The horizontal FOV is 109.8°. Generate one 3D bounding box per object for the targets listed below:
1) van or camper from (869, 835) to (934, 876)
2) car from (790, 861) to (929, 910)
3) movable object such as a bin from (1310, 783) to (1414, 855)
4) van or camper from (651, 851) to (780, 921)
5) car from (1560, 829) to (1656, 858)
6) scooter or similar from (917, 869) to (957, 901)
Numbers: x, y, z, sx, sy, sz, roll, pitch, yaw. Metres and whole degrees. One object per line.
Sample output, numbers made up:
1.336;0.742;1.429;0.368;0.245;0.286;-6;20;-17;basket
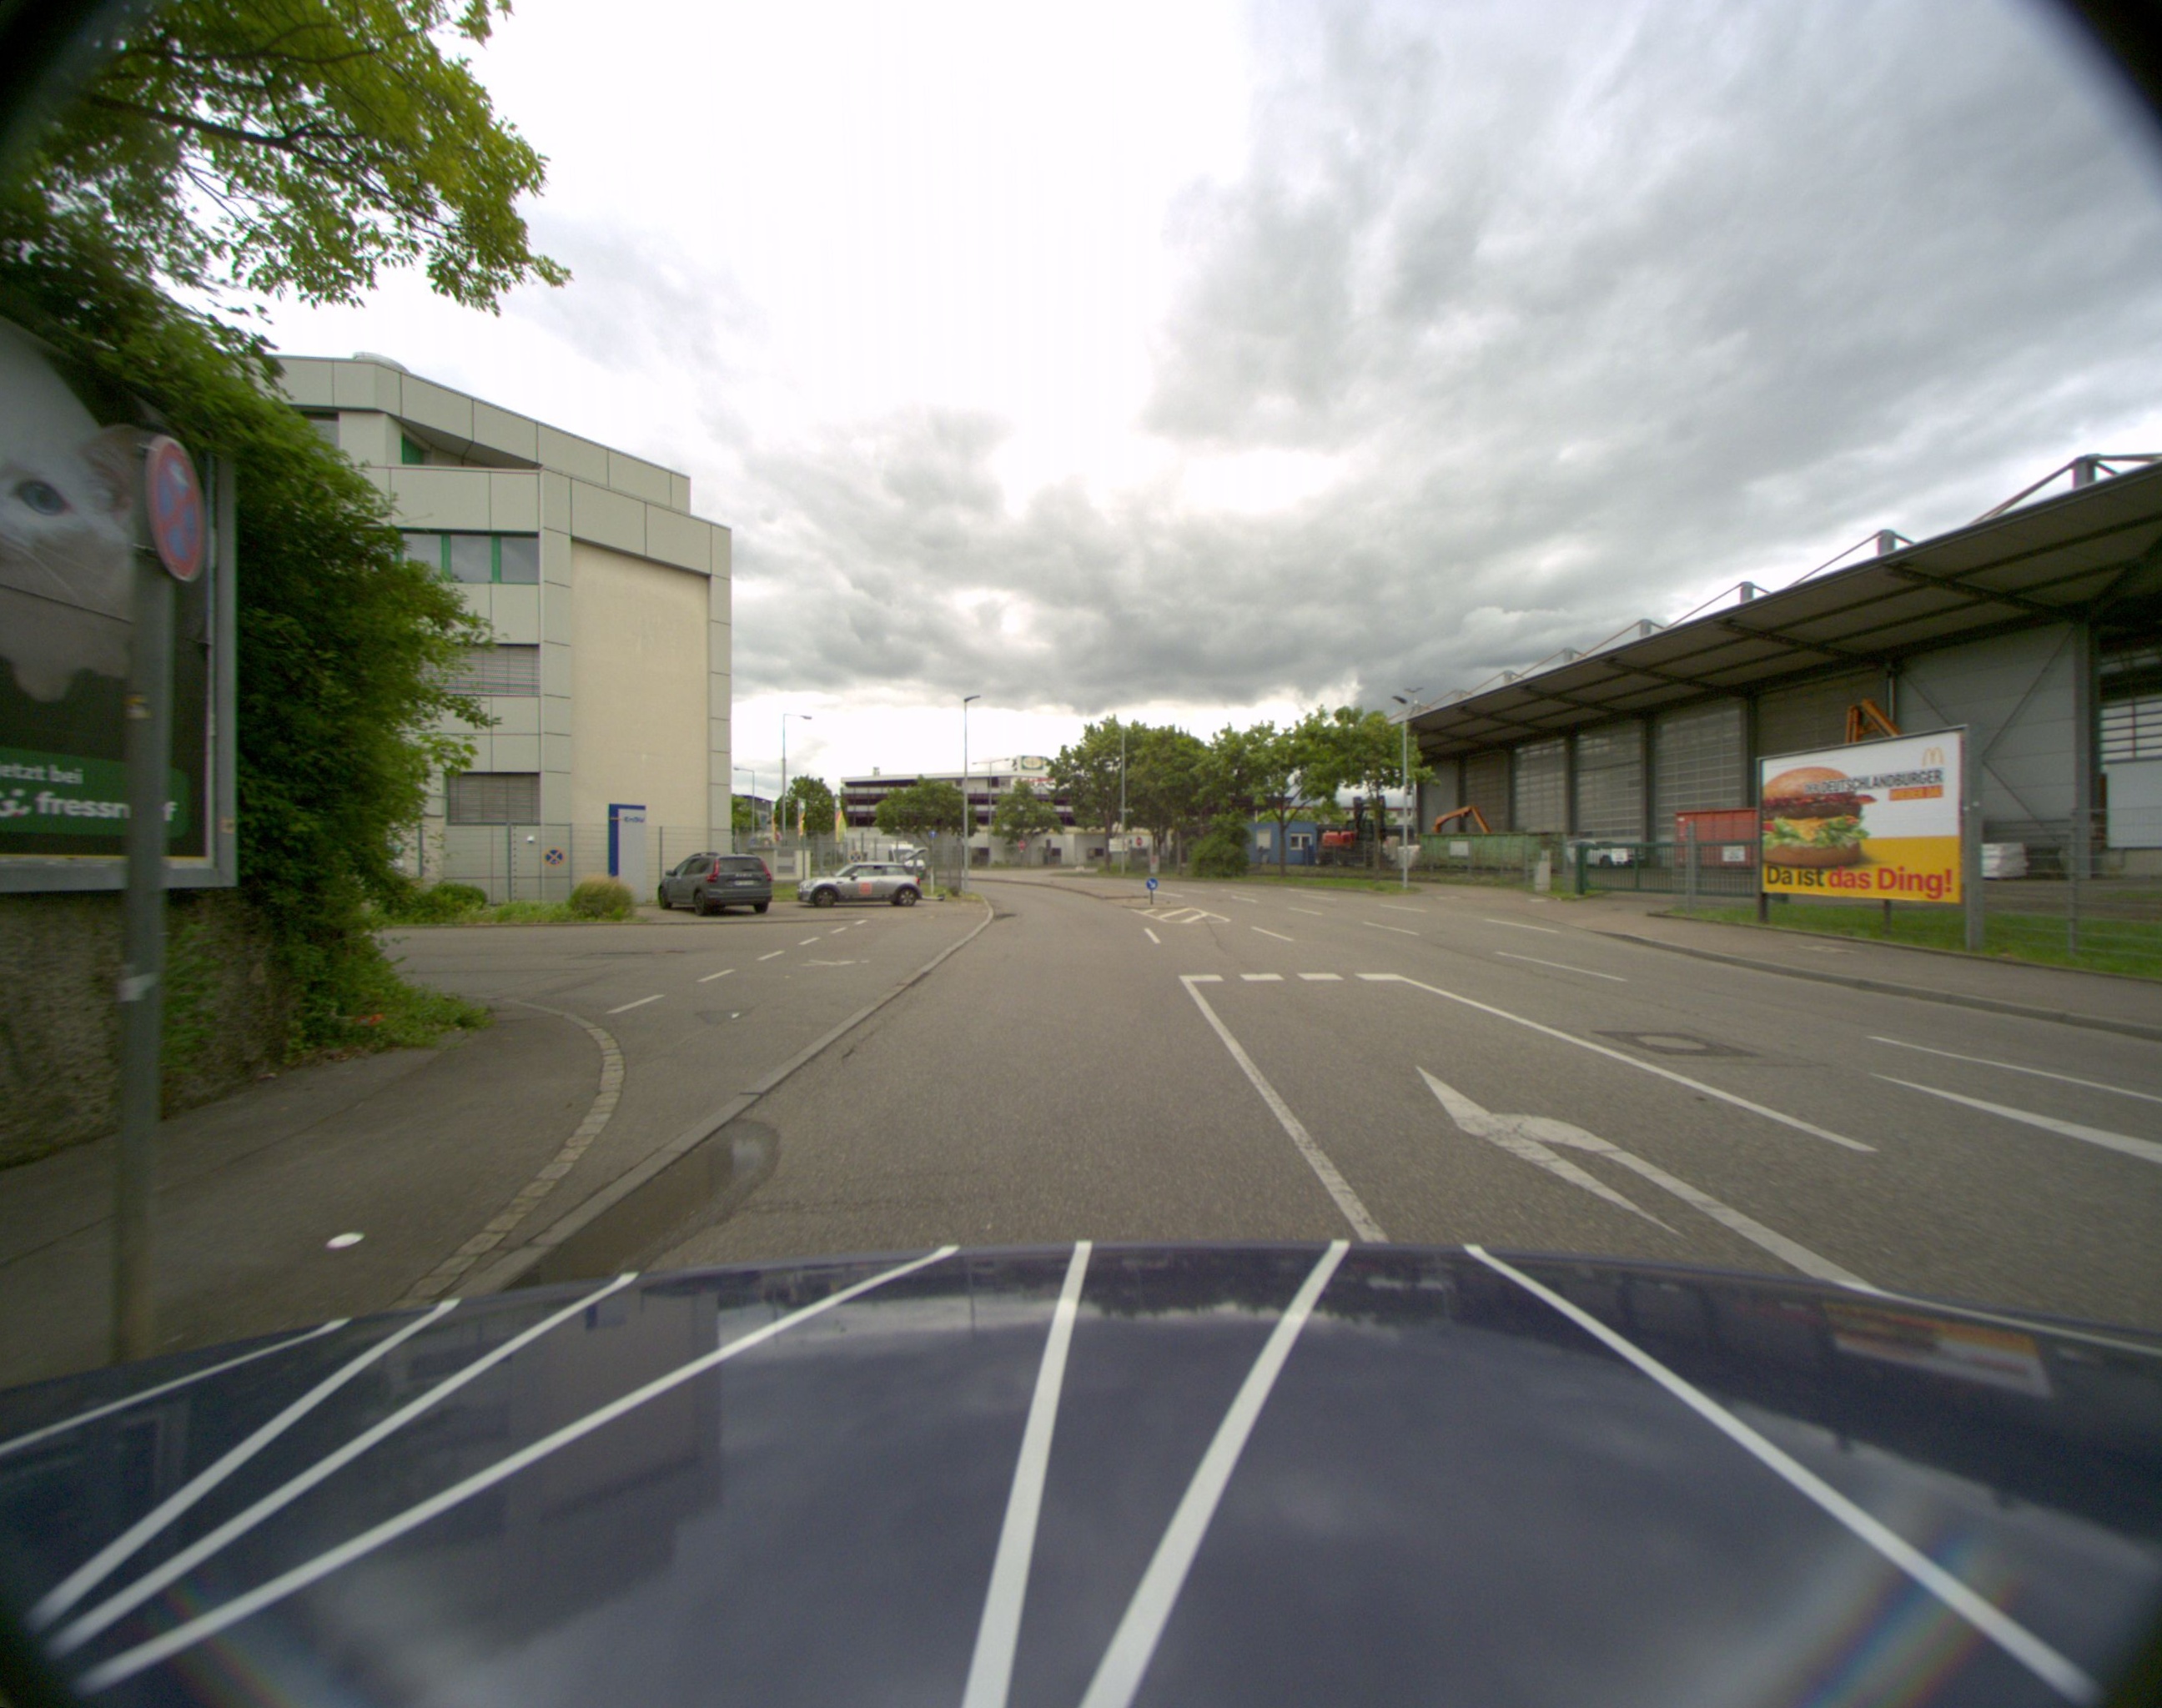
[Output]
-12.192;0.035;51.265;2.276;2.542;6.092;-2;2;-33;van or camper
-7.060;0.953;24.284;4.026;1.423;1.782;0;1;-26;car
17.022;-1.992;46.563;2.735;4.067;6.543;0;0;-15;movable object such as a bin
-10.234;0.787;21.101;1.836;1.685;4.493;-2;2;-44;van or camper
26.573;-0.543;38.463;1.738;1.366;3.996;0;1;-8;car
-5.405;1.160;28.582;1.418;1.127;0.480;1;1;0;scooter or similar
